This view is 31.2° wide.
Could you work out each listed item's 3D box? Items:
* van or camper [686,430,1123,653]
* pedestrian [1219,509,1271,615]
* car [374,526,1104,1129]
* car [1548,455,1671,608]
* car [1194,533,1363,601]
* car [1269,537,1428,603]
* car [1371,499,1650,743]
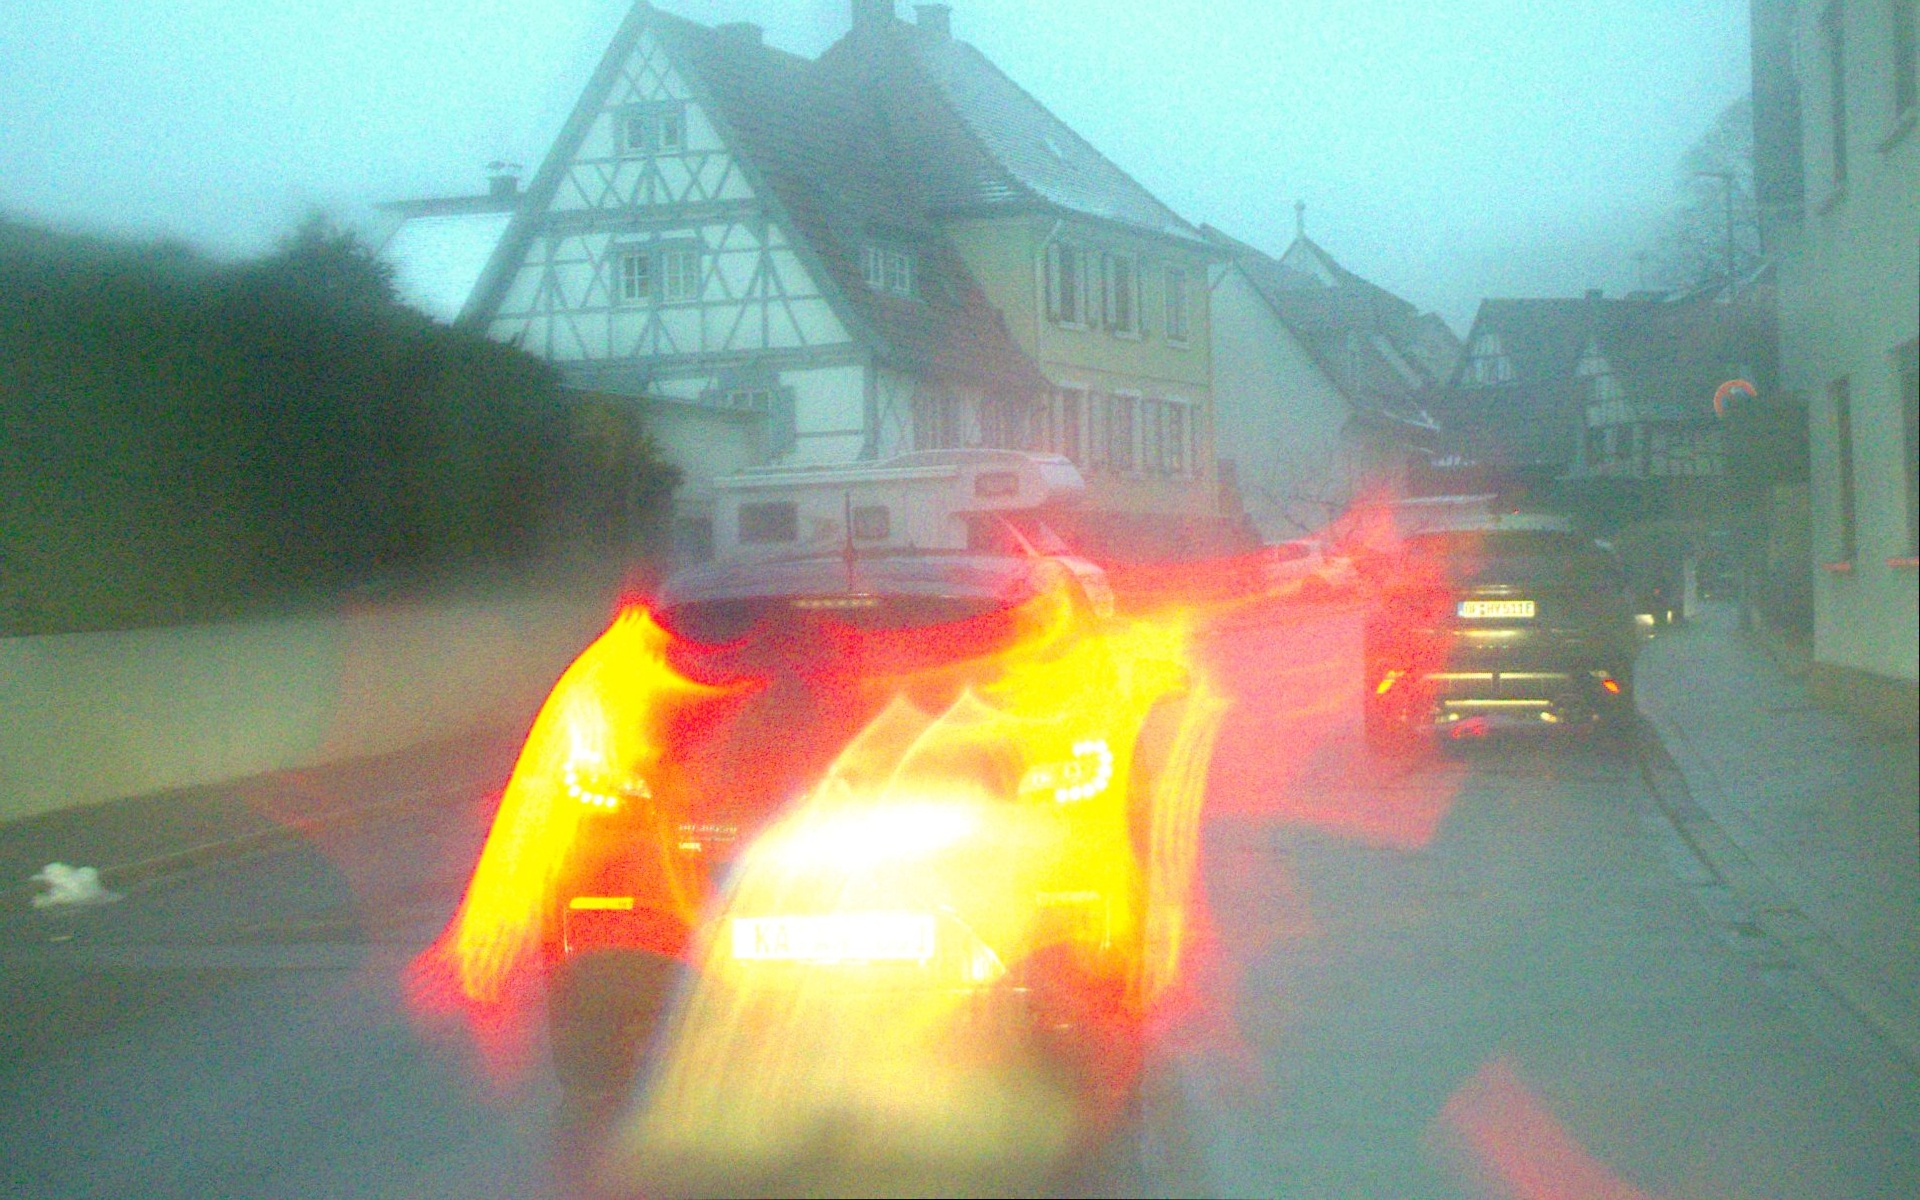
[{"bbox_3d":[-0.829,-0.863,52.487,6.065,2.945,2.404,-4,0,17],"label":"van or camper"},{"bbox_3d":[5.471,-0.726,66.012,0.874,2.007,0.794,-1,1,11],"label":"pedestrian"},{"bbox_3d":[-0.467,0.523,10.486,1.795,1.471,4.000,0,1,2],"label":"car"},{"bbox_3d":[10.765,-1.127,56.822,1.815,2.405,3.749,-1,1,13],"label":"car"},{"bbox_3d":[7.237,-0.742,78.055,3.511,1.502,1.691,0,1,19],"label":"car"},{"bbox_3d":[9.103,-0.707,80.417,3.509,1.502,1.691,0,1,13],"label":"car"},{"bbox_3d":[3.985,0.109,25.268,1.848,1.631,4.334,0,1,8],"label":"car"}]
